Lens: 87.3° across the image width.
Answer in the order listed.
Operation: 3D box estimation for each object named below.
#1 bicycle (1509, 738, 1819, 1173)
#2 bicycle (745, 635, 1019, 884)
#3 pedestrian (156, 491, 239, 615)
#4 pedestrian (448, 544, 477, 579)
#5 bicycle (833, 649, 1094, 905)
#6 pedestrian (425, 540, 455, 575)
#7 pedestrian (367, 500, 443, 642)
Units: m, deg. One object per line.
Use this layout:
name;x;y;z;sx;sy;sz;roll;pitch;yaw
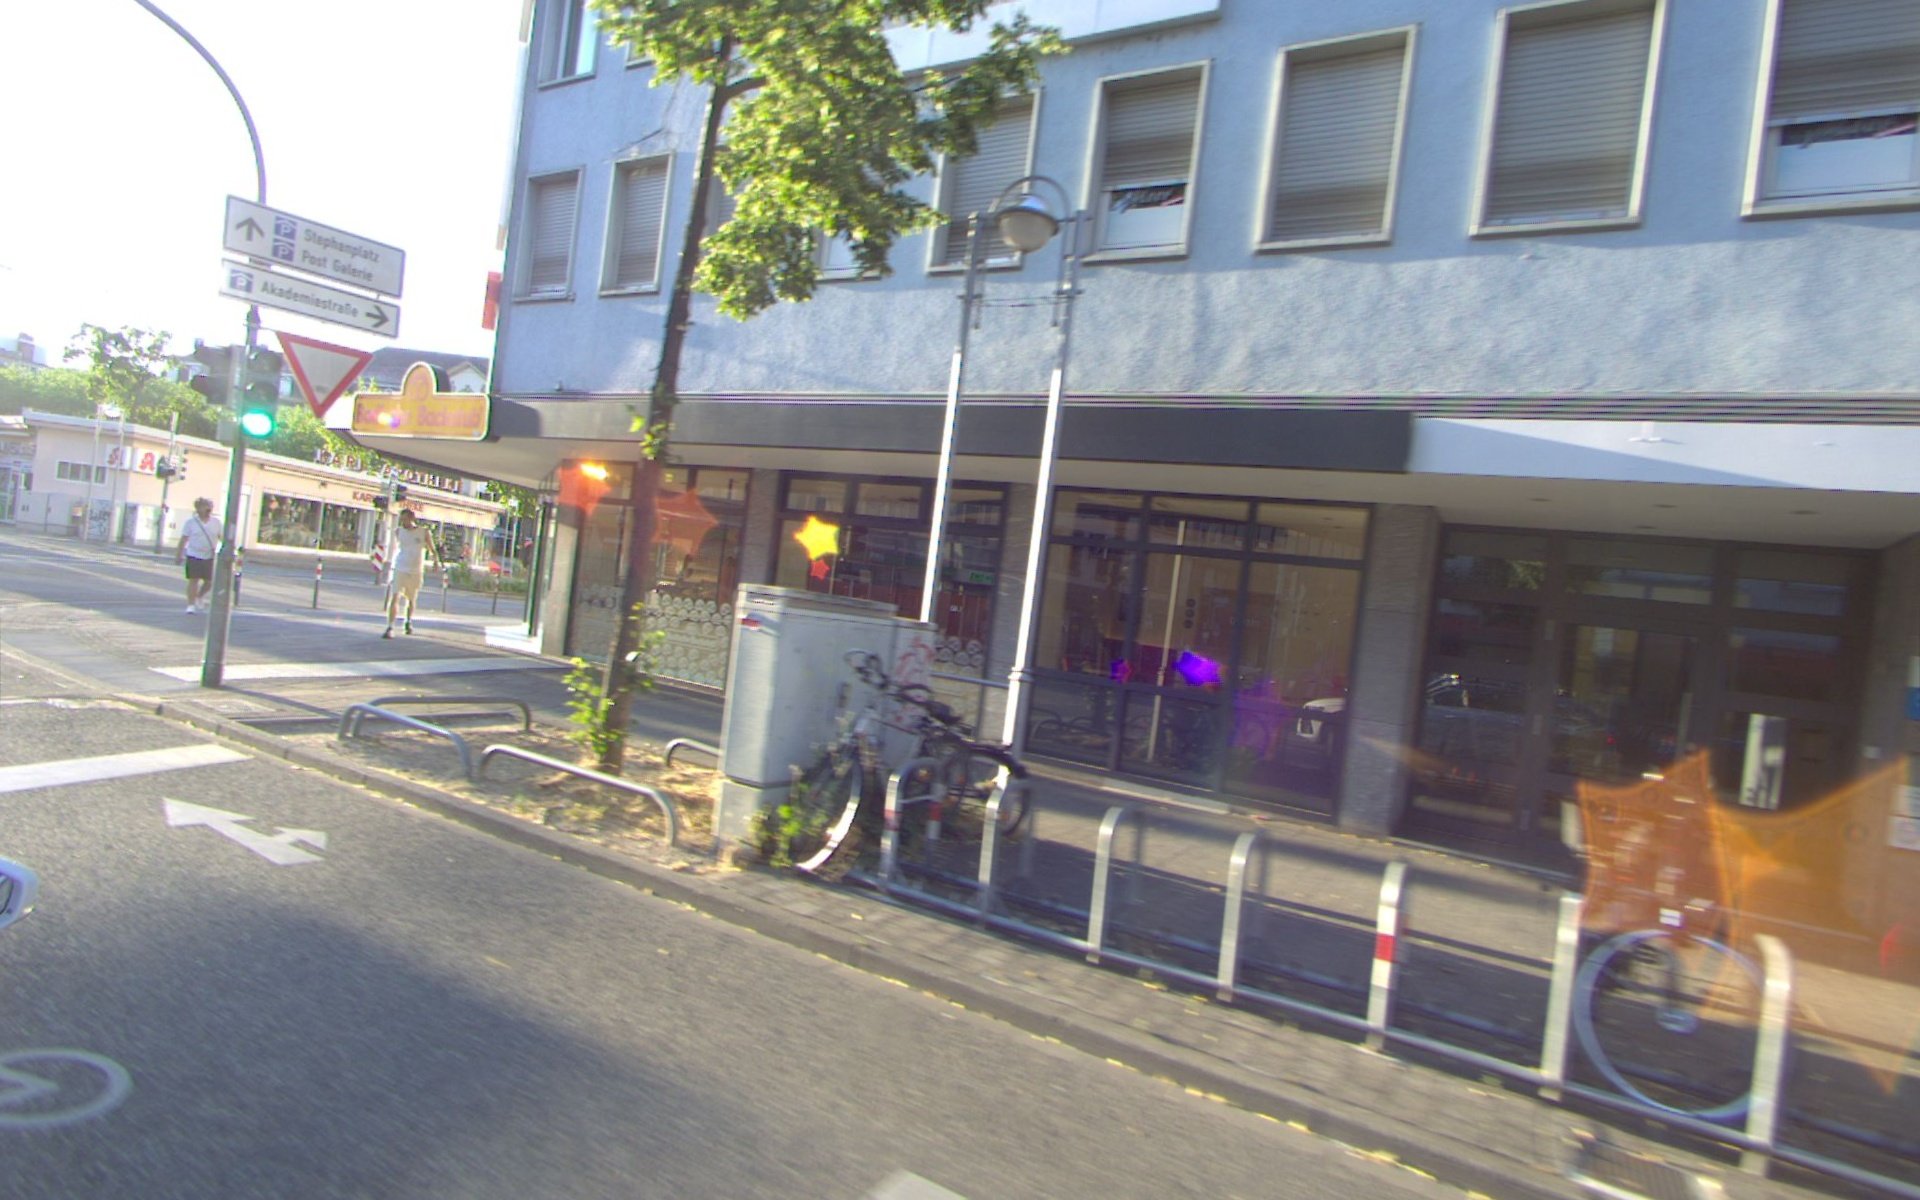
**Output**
bicycle;2.834;1.298;4.267;0.461;1.218;1.919;7;0;20
bicycle;-0.376;0.889;6.035;0.462;1.218;1.915;7;0;32
pedestrian;-11.548;-0.704;15.272;0.797;1.748;0.986;5;1;-31
pedestrian;-24.879;-1.929;50.302;0.791;1.633;0.994;6;1;6
bicycle;0.110;0.961;5.912;0.462;1.218;1.915;7;0;32
pedestrian;-25.942;-2.109;50.221;0.791;1.633;0.994;6;1;6
pedestrian;-7.988;-0.410;14.469;0.797;1.911;0.986;5;1;-31
